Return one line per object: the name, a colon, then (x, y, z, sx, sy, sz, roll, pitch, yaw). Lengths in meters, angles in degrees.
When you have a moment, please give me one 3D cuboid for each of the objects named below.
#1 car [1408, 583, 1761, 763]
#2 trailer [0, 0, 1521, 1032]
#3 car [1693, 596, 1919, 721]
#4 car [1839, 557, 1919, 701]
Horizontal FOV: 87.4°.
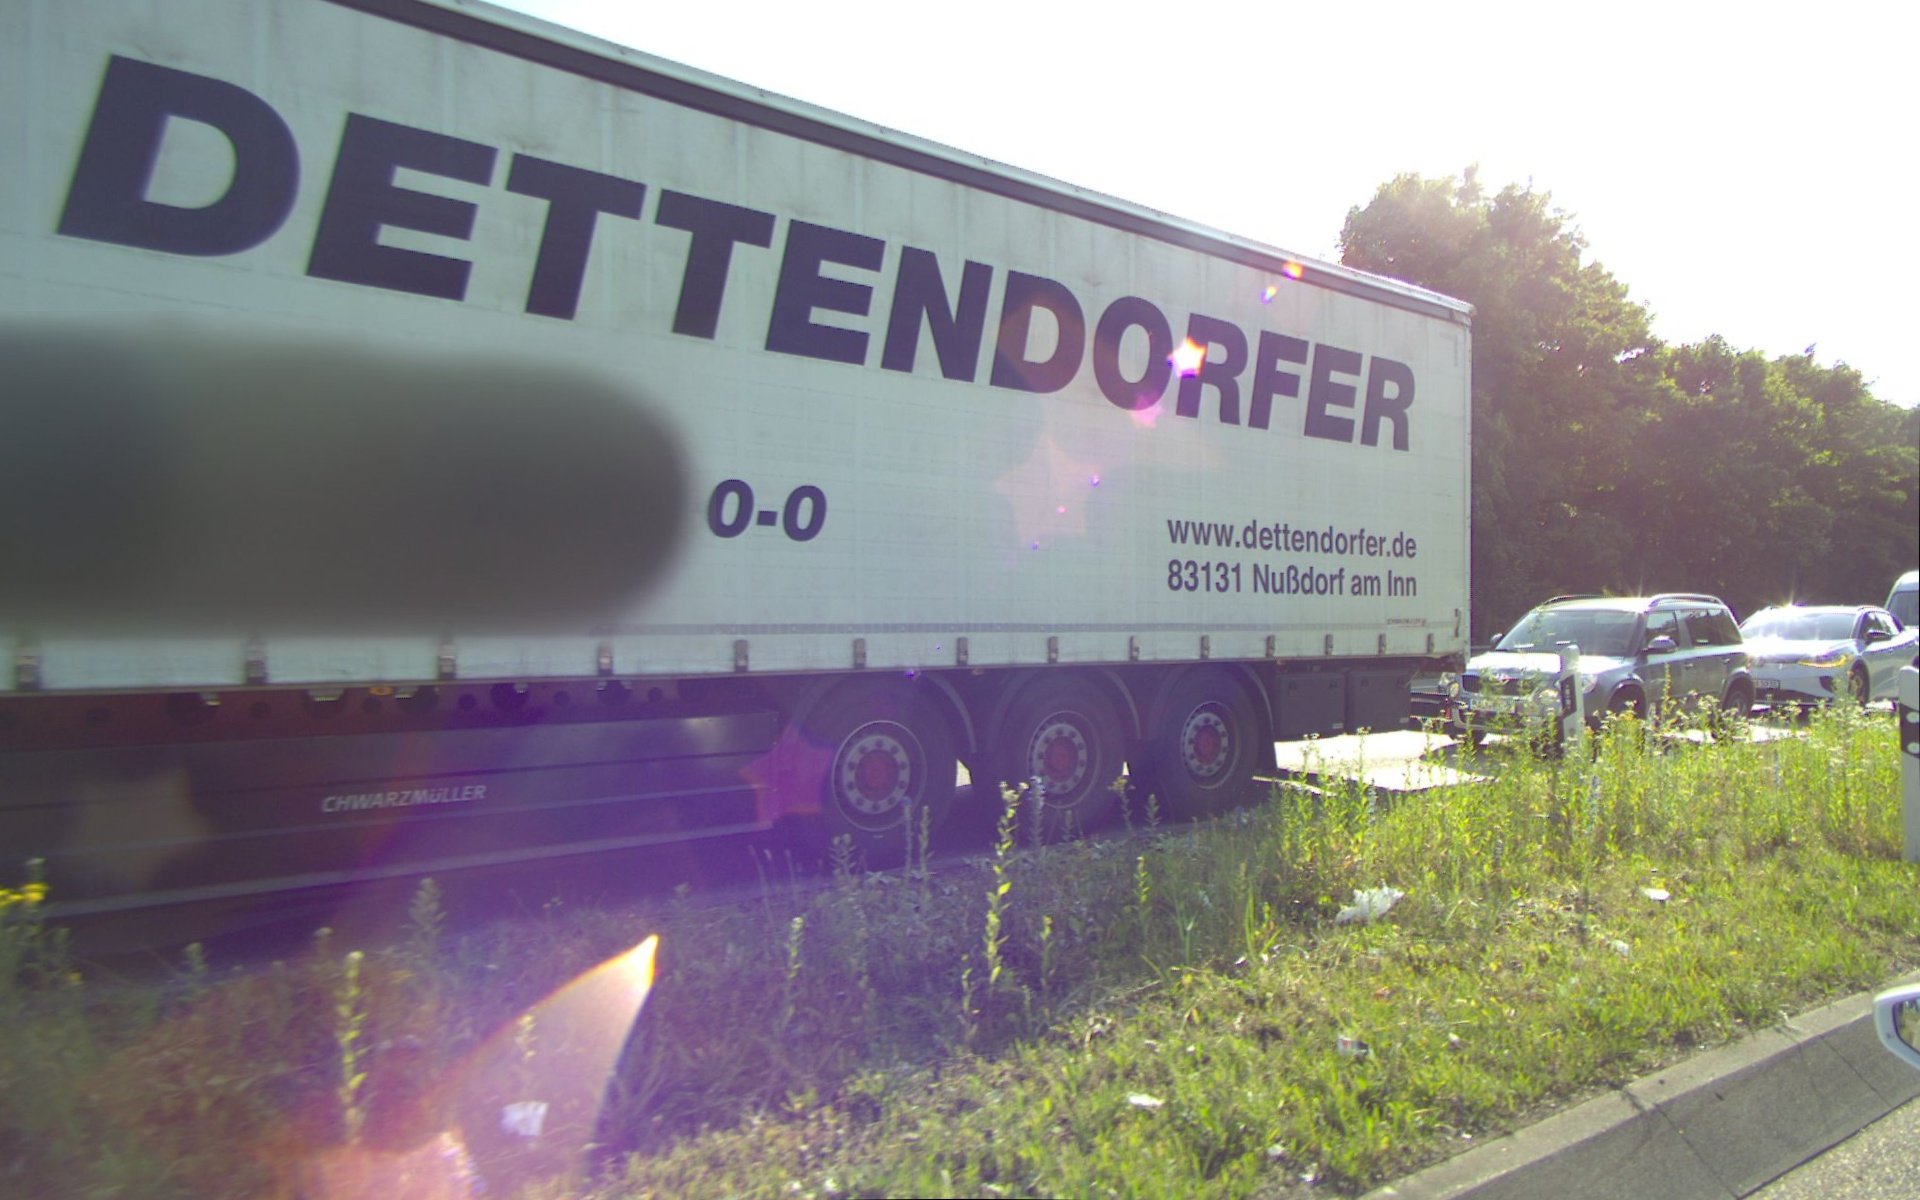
car: (7.005, 0.691, 11.131, 4.324, 1.653, 1.690, 0, -1, -34)
trailer: (-1.813, -0.535, 6.051, 13.863, 4.048, 2.974, 0, -2, -33)
car: (13.213, 0.805, 15.389, 4.697, 1.653, 1.690, 0, -1, -34)
car: (19.669, 0.527, 19.646, 6.095, 2.567, 2.064, 0, -1, -32)
